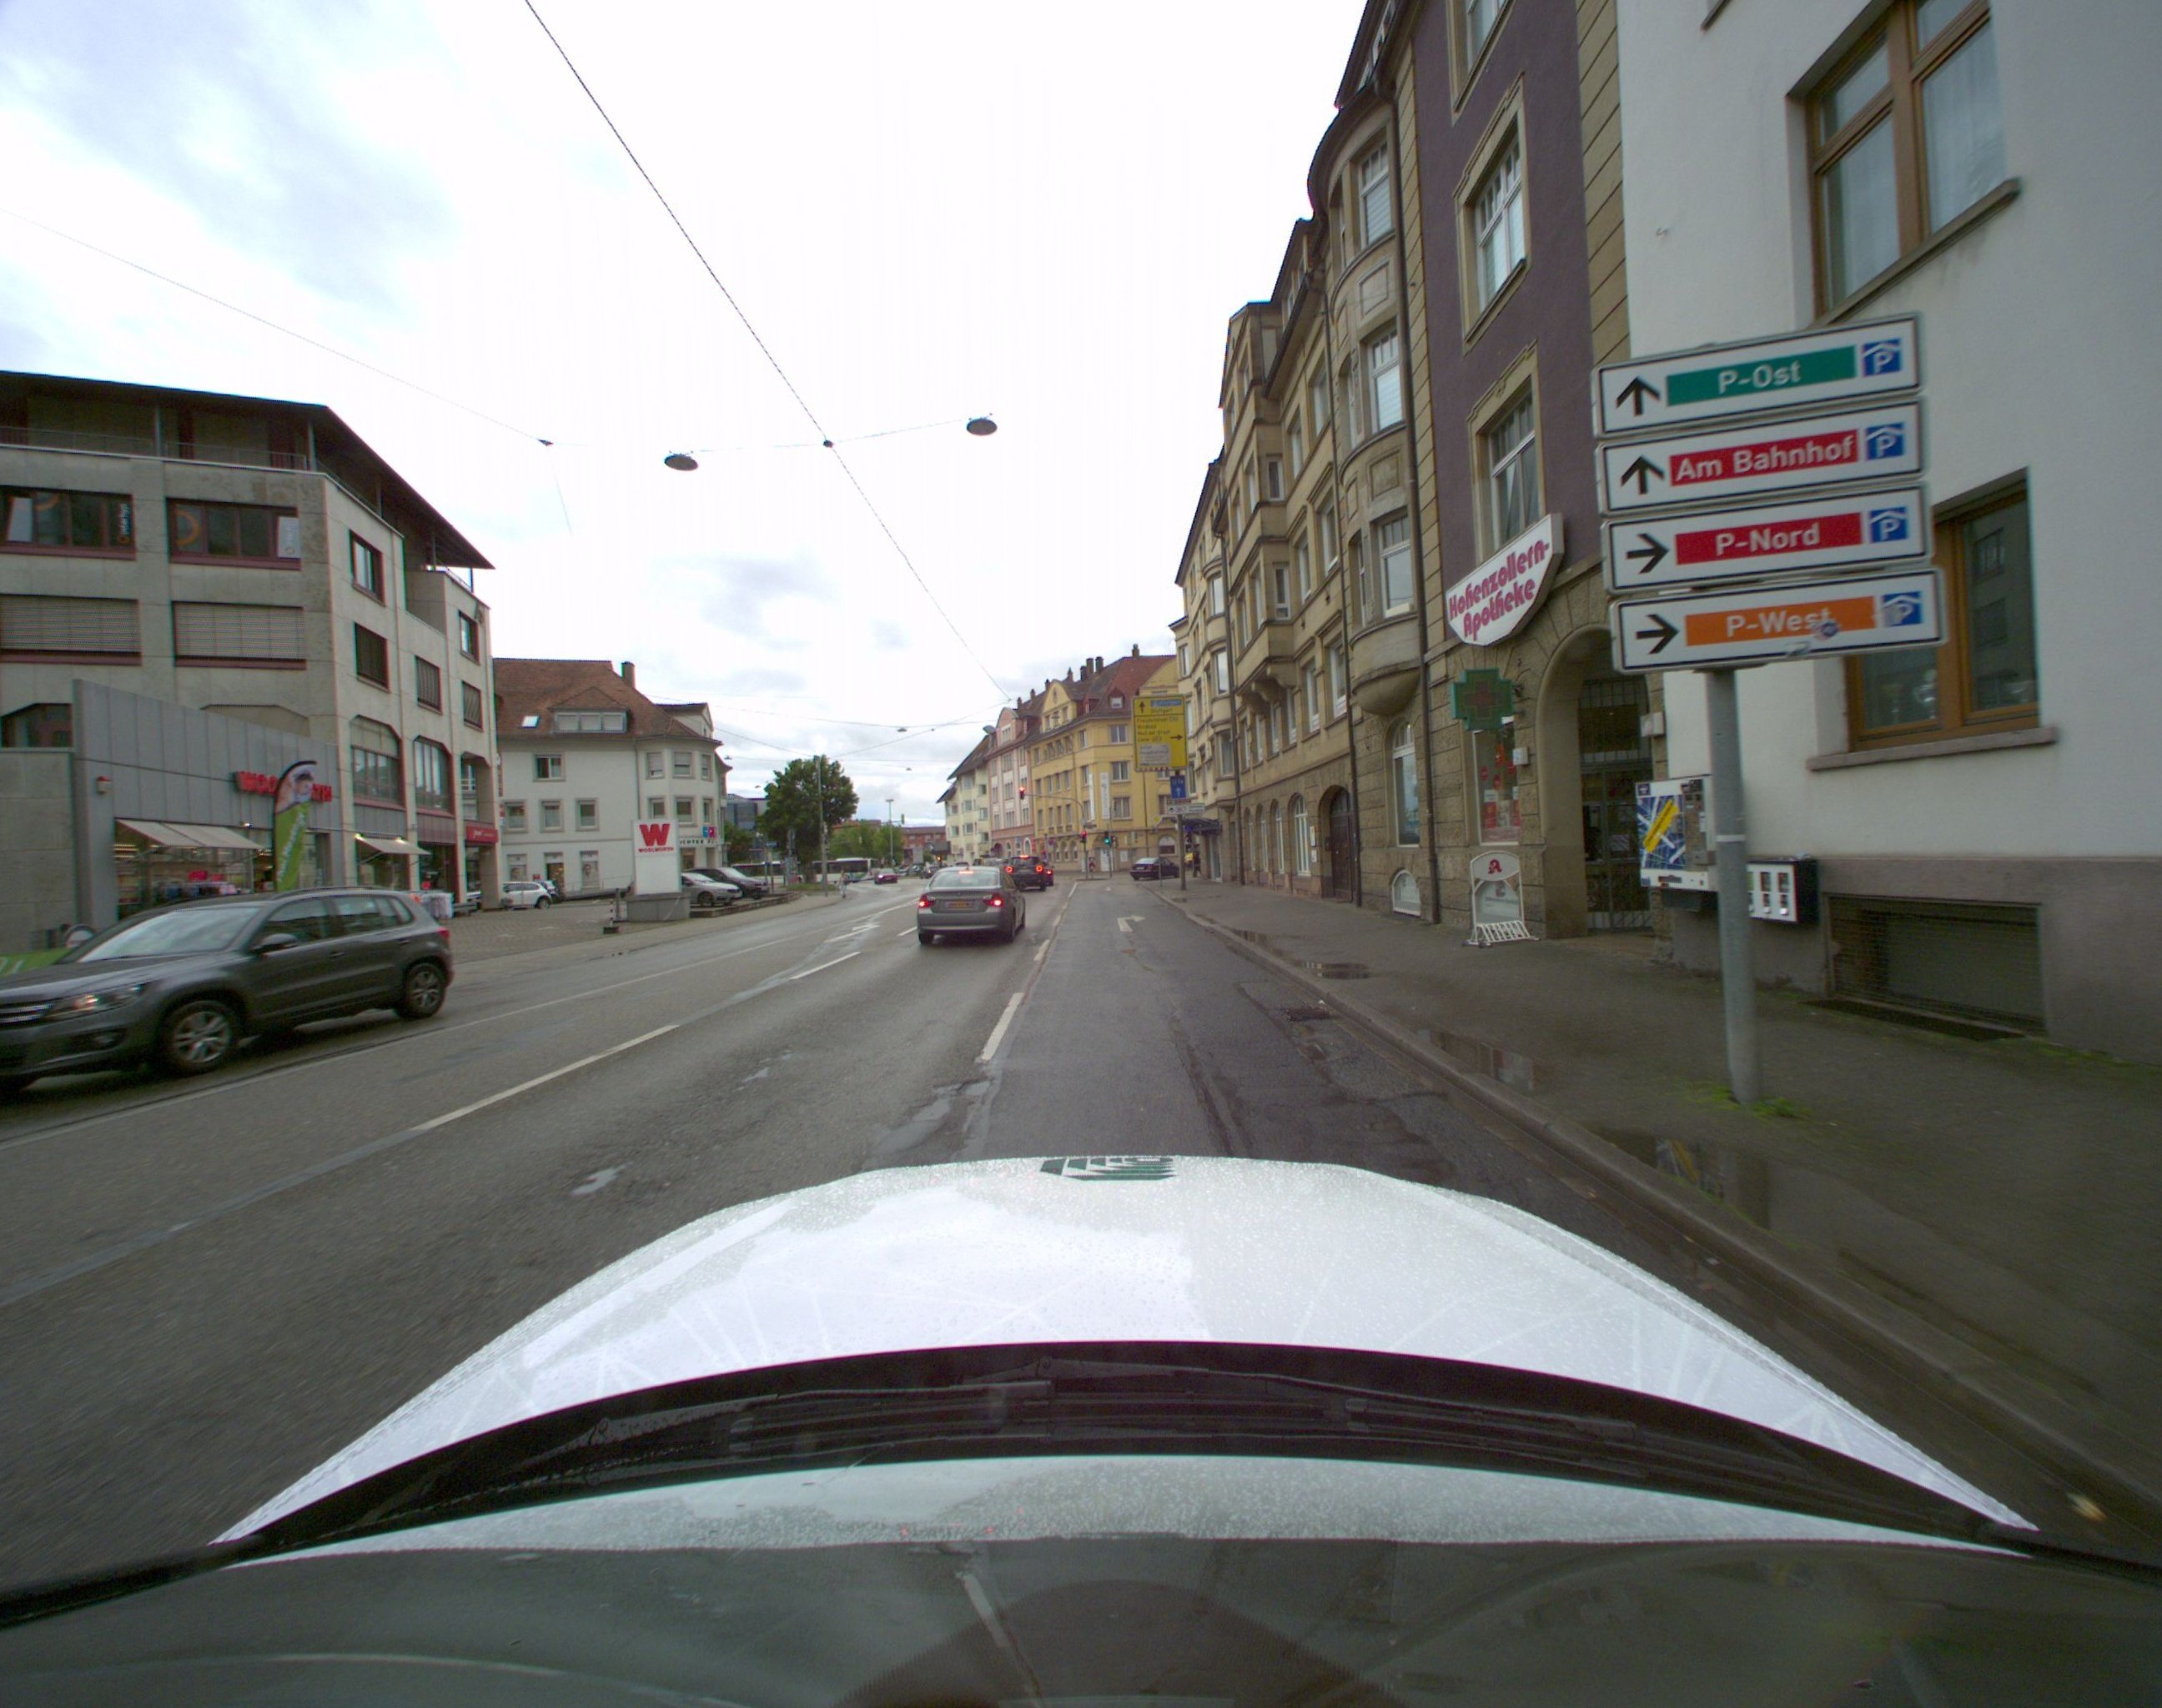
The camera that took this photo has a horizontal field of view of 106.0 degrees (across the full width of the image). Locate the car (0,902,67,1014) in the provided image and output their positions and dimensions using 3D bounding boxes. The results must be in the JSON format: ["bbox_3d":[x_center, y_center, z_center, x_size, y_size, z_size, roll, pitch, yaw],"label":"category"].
[{"bbox_3d":[-15.536,1.456,9.215,1.982,1.439,4.663,-3,0,8],"label":"car"}]

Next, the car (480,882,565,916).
[{"bbox_3d":[-35.496,2.818,51.860,4.002,1.815,1.986,-3,0,-21],"label":"car"}]

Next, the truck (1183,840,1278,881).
[{"bbox_3d":[11.828,0.498,64.905,7.068,2.851,2.082,-3,-1,0],"label":"truck"}]

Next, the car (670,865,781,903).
[{"bbox_3d":[-16.883,1.402,38.739,4.392,1.506,1.959,-3,-1,9],"label":"car"}]

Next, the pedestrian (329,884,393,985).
[{"bbox_3d":[-12.785,1.404,14.465,0.752,1.685,0.745,-3,0,-44],"label":"pedestrian"}]

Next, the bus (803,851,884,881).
[{"bbox_3d":[-28.906,1.421,99.359,9.048,3.105,2.929,-3,0,14],"label":"bus"}]

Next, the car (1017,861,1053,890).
[{"bbox_3d":[-2.432,1.140,44.247,1.798,1.406,4.679,-2,-1,-2],"label":"car"}]

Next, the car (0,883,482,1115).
[{"bbox_3d":[-8.728,1.242,8.449,1.942,1.659,4.056,-3,0,0],"label":"car"}]

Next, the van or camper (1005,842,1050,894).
[{"bbox_3d":[-2.408,0.623,37.562,1.850,2.146,4.139,-3,0,-2],"label":"van or camper"}]

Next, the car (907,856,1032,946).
[{"bbox_3d":[-2.053,0.841,16.191,1.793,1.464,4.370,-2,-1,0],"label":"car"}]

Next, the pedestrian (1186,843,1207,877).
[{"bbox_3d":[6.837,0.344,48.191,1.053,1.903,1.026,-3,0,3],"label":"pedestrian"}]

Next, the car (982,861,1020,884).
[{"bbox_3d":[-7.047,1.641,71.354,2.004,1.816,3.964,-3,-1,-27],"label":"car"}]

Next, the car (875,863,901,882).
[{"bbox_3d":[-18.195,1.701,76.544,1.851,1.684,3.972,-1,-1,-21],"label":"car"}]

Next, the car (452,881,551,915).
[{"bbox_3d":[-28.278,2.131,39.848,1.566,1.500,3.775,-3,-3,16],"label":"car"}]

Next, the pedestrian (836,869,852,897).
[{"bbox_3d":[-12.881,1.563,44.251,0.763,1.529,0.505,-1,-2,-20],"label":"pedestrian"}]

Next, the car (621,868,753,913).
[{"bbox_3d":[-16.116,1.470,33.506,4.435,1.526,1.884,-3,0,-3],"label":"car"}]

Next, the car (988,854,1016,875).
[{"bbox_3d":[-8.460,1.102,86.940,1.770,2.180,3.967,0,-1,-25],"label":"car"}]

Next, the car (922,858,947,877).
[{"bbox_3d":[-16.248,1.512,90.341,2.001,2.013,3.972,-3,0,-21],"label":"car"}]

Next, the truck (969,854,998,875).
[{"bbox_3d":[-11.037,1.184,92.047,2.036,2.389,4.202,0,-1,-25],"label":"truck"}]

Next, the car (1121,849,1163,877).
[{"bbox_3d":[3.661,0.580,49.588,1.797,1.563,3.990,-2,-1,-7],"label":"car"}]

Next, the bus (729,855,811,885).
[{"bbox_3d":[-38.258,1.900,100.446,8.805,3.105,2.921,-3,0,3],"label":"bus"}]

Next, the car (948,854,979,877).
[{"bbox_3d":[-11.251,1.118,77.866,2.001,2.013,3.972,-3,0,-20],"label":"car"}]
